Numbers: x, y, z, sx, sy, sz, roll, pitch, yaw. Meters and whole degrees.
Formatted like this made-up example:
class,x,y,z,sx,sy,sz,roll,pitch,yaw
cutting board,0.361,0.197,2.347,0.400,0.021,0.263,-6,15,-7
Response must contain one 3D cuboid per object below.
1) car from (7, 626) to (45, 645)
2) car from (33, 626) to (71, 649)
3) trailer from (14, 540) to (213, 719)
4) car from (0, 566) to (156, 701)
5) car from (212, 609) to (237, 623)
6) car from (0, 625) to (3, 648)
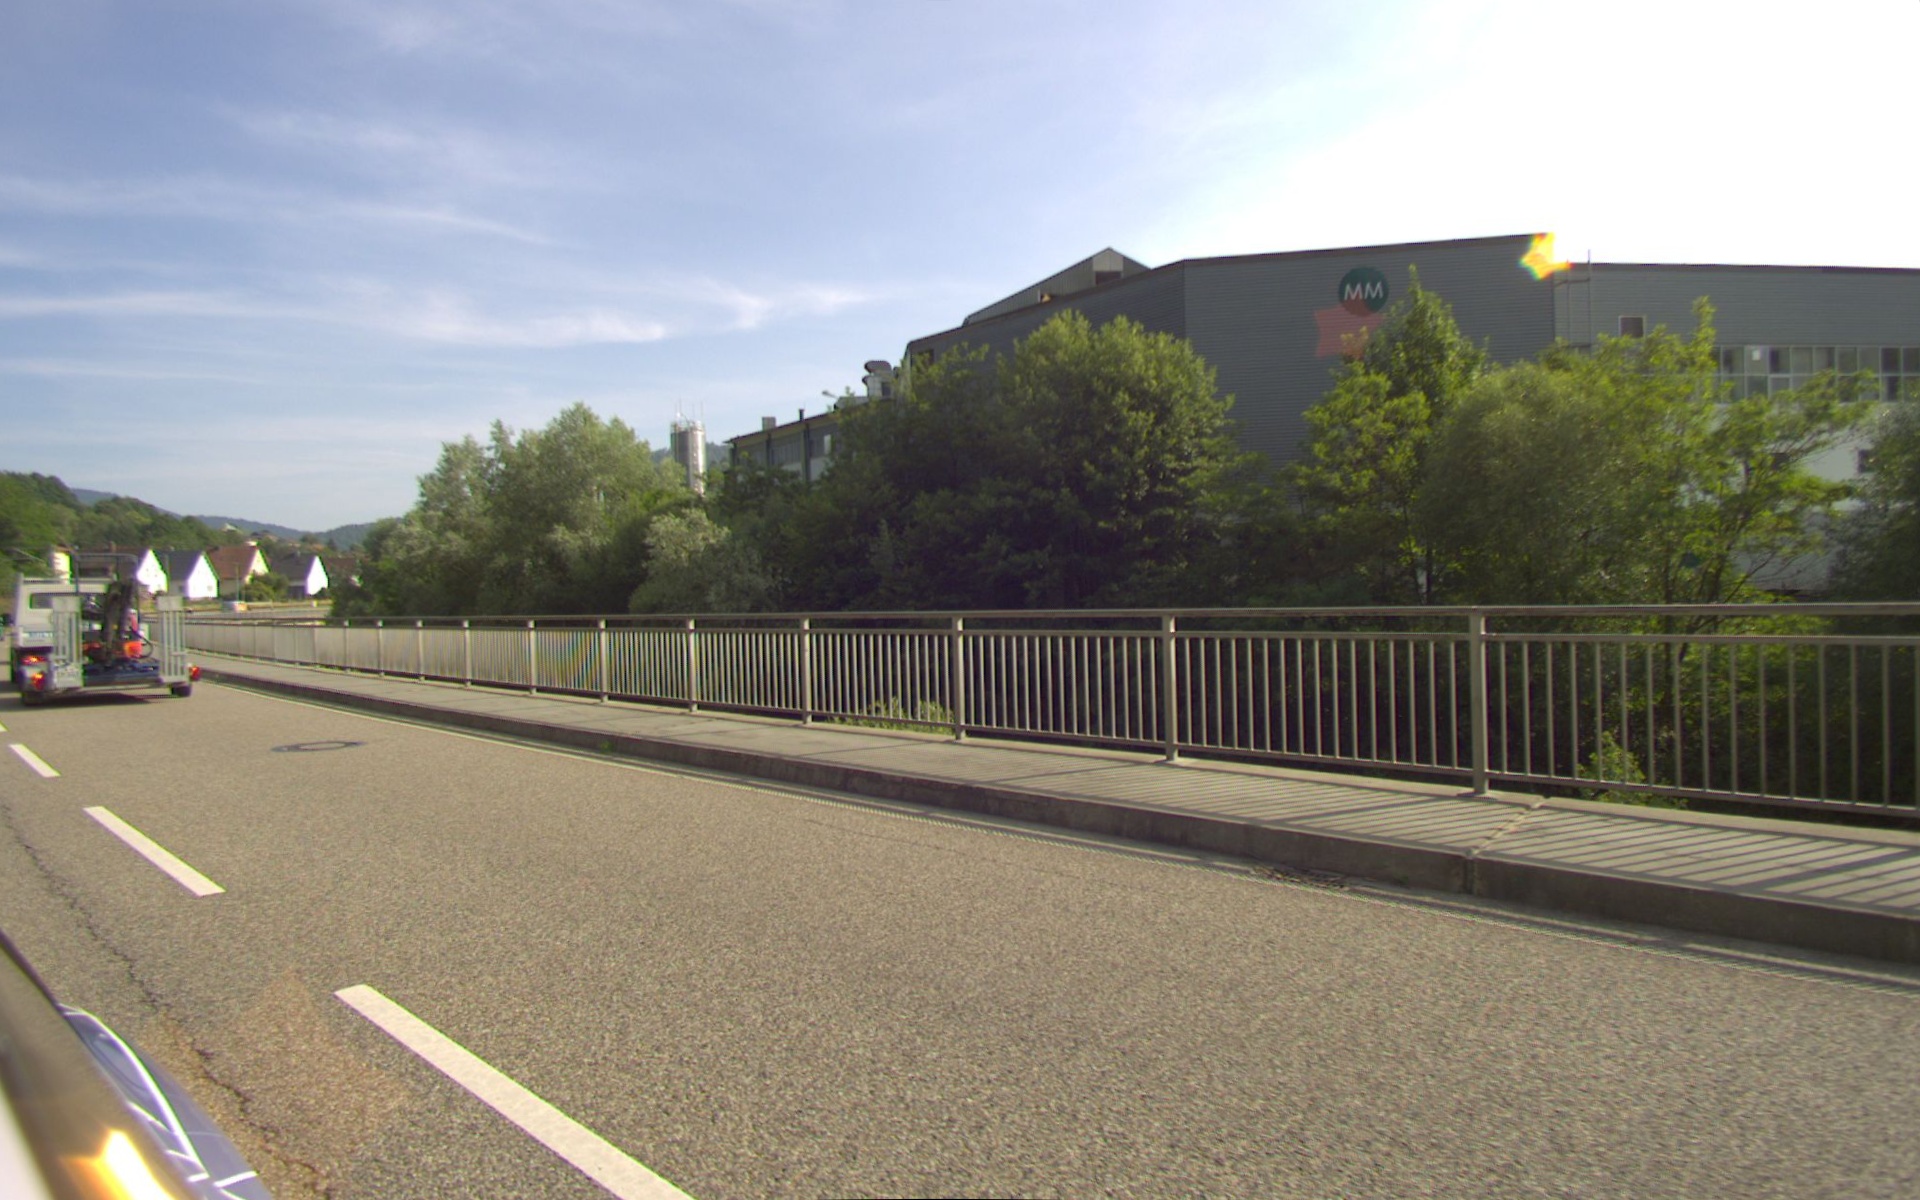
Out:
class,x,y,z,sx,sy,sz,roll,pitch,yaw
car,-71.818,2.699,77.852,1.626,1.443,3.341,2,-2,-33
car,-52.696,2.164,58.749,1.565,1.320,3.505,2,-2,-41
trailer,-15.219,0.486,18.061,5.348,2.737,2.098,-1,-1,43
car,-19.561,0.688,22.169,6.578,2.551,2.135,-1,-1,43
car,-98.280,2.126,135.290,1.965,1.874,4.013,-1,0,-24
car,-59.250,2.219,61.197,1.723,1.443,3.338,2,-2,-38
